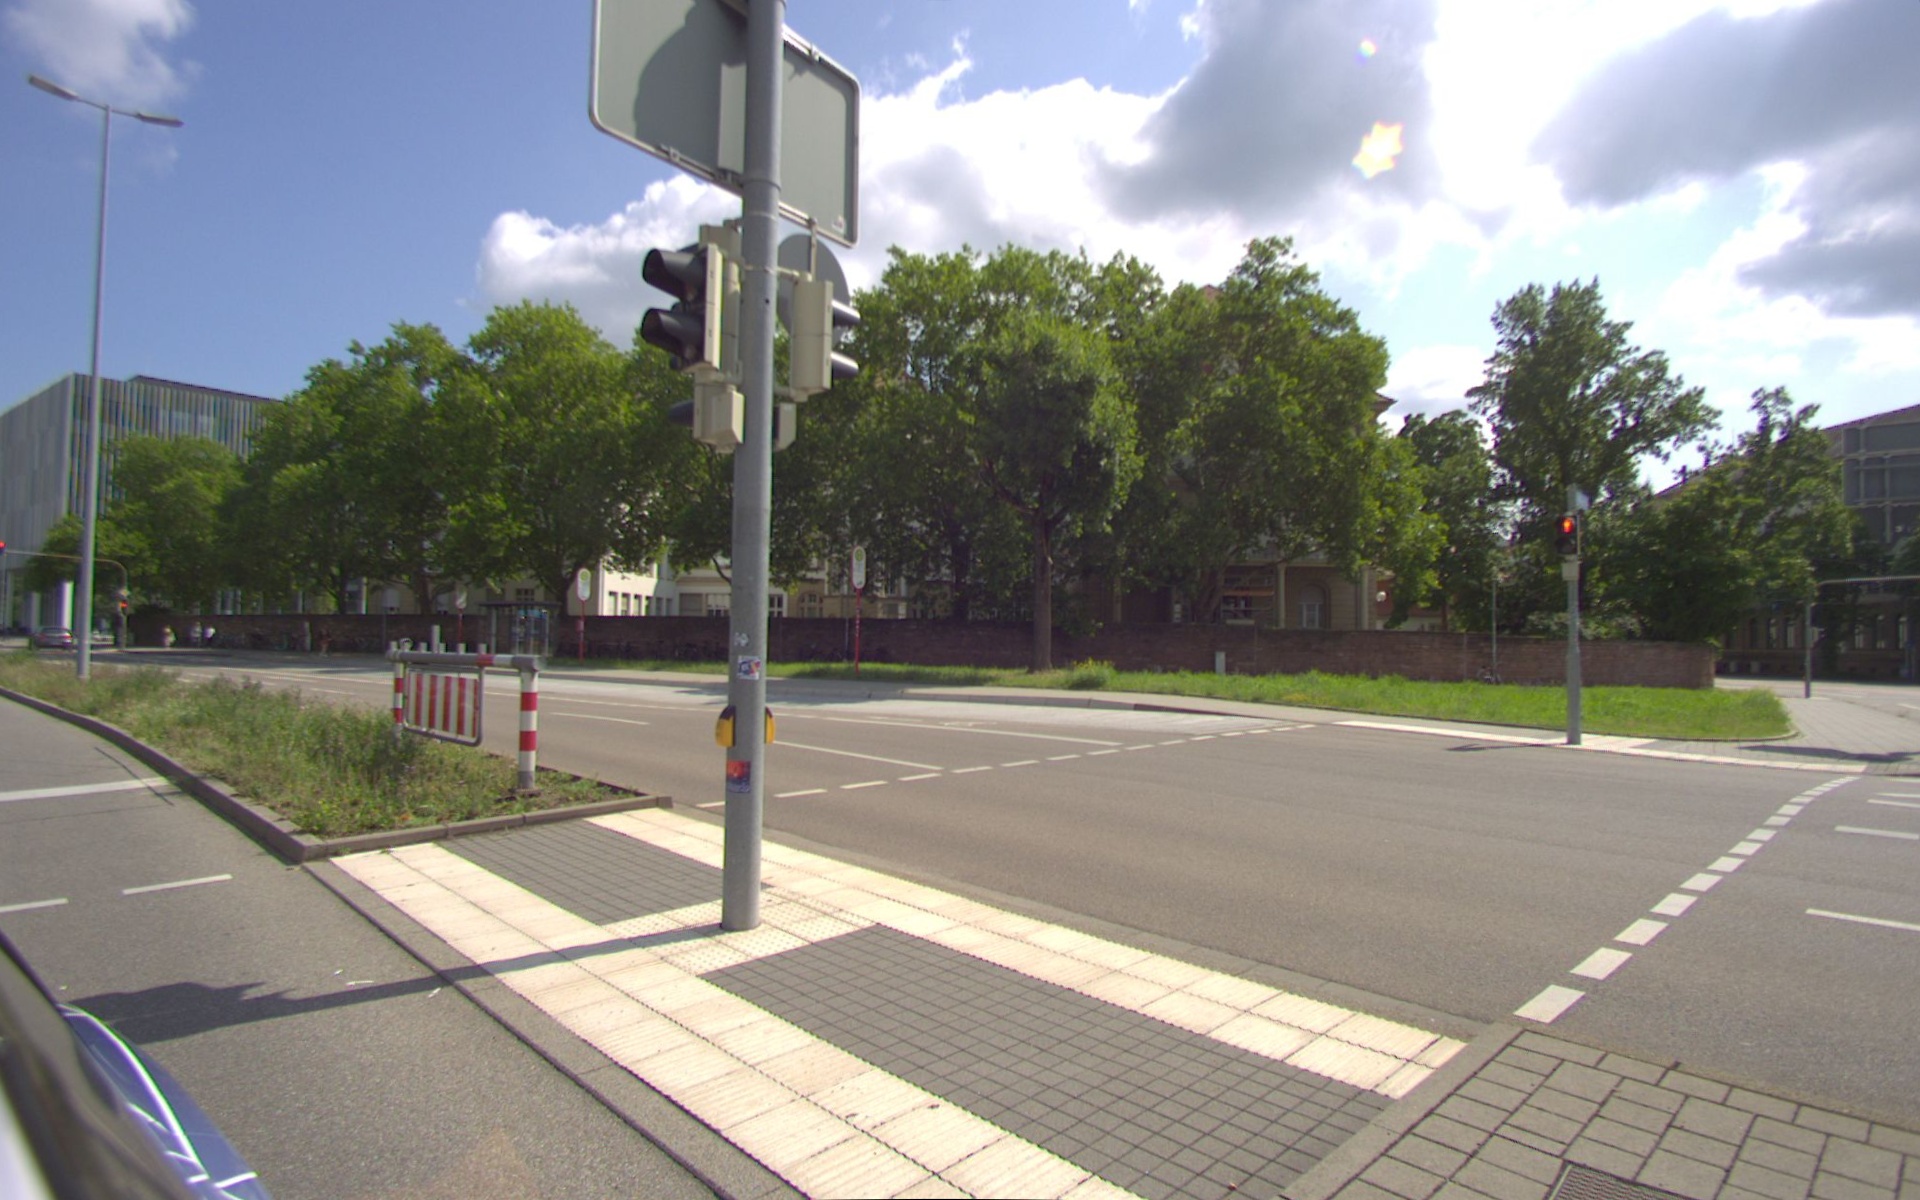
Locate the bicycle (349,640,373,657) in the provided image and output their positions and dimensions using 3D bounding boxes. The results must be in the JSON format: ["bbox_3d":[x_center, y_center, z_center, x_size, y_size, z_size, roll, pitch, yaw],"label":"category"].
[{"bbox_3d":[-34.513,2.773,58.298,1.618,0.962,0.368,-1,-3,25],"label":"bicycle"}]

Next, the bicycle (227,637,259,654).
[{"bbox_3d":[-45.629,2.881,64.422,1.864,1.056,0.590,0,-3,16],"label":"bicycle"}]

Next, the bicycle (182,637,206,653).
[{"bbox_3d":[-52.024,3.055,68.756,1.874,1.056,0.625,-1,-3,31],"label":"bicycle"}]

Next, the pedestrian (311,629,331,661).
[{"bbox_3d":[-32.600,2.270,51.611,0.744,1.622,0.649,-2,-2,41],"label":"pedestrian"}]

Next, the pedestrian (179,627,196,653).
[{"bbox_3d":[-49.834,2.598,65.286,0.729,1.664,0.635,-1,-3,35],"label":"pedestrian"}]

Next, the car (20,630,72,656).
[{"bbox_3d":[-53.891,2.540,59.632,4.142,1.456,1.683,-2,-5,40],"label":"car"}]

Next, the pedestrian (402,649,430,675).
[{"bbox_3d":[-21.042,2.393,39.132,0.742,0.970,0.687,-2,-3,39],"label":"pedestrian"}]

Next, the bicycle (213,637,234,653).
[{"bbox_3d":[-48.361,2.961,66.452,1.874,1.056,0.367,-1,-3,31],"label":"bicycle"}]

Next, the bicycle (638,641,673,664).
[{"bbox_3d":[-15.029,2.585,49.914,1.618,1.081,0.580,0,-3,19],"label":"bicycle"}]

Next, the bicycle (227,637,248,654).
[{"bbox_3d":[-46.674,2.950,65.411,1.874,1.056,0.367,-1,-3,31],"label":"bicycle"}]

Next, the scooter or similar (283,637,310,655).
[{"bbox_3d":[-40.348,2.806,61.515,1.874,1.056,0.576,-1,-3,31],"label":"scooter or similar"}]

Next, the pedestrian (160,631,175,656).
[{"bbox_3d":[-53.163,2.895,67.871,0.725,1.664,0.555,-1,-3,35],"label":"pedestrian"}]

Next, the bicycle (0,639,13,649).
[{"bbox_3d":[-83.981,3.815,88.403,1.745,0.899,0.640,1,-3,-18],"label":"bicycle"}]

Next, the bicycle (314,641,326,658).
[{"bbox_3d":[-37.286,2.886,58.953,0.362,0.962,1.627,3,-3,-40],"label":"bicycle"}]

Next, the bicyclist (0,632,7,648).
[{"bbox_3d":[-84.064,3.491,88.412,0.930,1.475,0.633,1,-3,-18],"label":"bicyclist"}]

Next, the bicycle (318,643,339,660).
[{"bbox_3d":[-37.286,3.031,59.748,1.394,0.962,0.364,-1,-3,25],"label":"bicycle"}]

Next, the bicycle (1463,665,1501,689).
[{"bbox_3d":[22.462,3.307,43.552,1.499,0.999,0.395,1,-3,-7],"label":"bicycle"}]

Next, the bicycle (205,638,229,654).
[{"bbox_3d":[-48.201,2.980,65.668,1.874,1.056,0.587,-1,-3,31],"label":"bicycle"}]

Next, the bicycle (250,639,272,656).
[{"bbox_3d":[-43.876,2.976,63.499,1.874,1.056,0.391,-1,-3,31],"label":"bicycle"}]

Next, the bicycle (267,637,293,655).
[{"bbox_3d":[-41.985,2.825,62.480,1.874,1.056,0.576,-1,-3,31],"label":"bicycle"}]

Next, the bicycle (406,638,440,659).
[{"bbox_3d":[-29.525,2.666,55.666,1.742,1.081,0.580,0,-3,19],"label":"bicycle"}]

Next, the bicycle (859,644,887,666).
[{"bbox_3d":[-4.011,2.547,46.813,1.245,1.019,0.351,-1,-3,20],"label":"bicycle"}]

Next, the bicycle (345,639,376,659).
[{"bbox_3d":[-34.043,2.787,57.469,1.746,1.081,0.579,-1,-3,25],"label":"bicycle"}]

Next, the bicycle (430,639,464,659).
[{"bbox_3d":[-27.797,2.642,54.884,1.742,1.081,0.580,0,-3,19],"label":"bicycle"}]

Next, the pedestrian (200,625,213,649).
[{"bbox_3d":[-49.294,2.432,66.238,0.615,1.552,0.472,-1,-3,35],"label":"pedestrian"}]

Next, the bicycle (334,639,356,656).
[{"bbox_3d":[-35.954,2.755,59.122,1.394,0.962,0.364,-1,-3,25],"label":"bicycle"}]

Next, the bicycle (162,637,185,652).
[{"bbox_3d":[-54.772,3.101,70.442,1.874,1.056,0.625,-1,-3,31],"label":"bicycle"}]

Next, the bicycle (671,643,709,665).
[{"bbox_3d":[-13.163,2.631,49.343,1.858,1.081,0.579,-1,-3,24],"label":"bicycle"}]

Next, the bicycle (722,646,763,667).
[{"bbox_3d":[-10.431,2.705,48.518,1.949,1.019,0.469,-1,-3,20],"label":"bicycle"}]

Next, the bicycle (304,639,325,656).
[{"bbox_3d":[-38.767,2.852,60.761,1.394,0.962,0.364,-1,-3,25],"label":"bicycle"}]

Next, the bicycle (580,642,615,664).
[{"bbox_3d":[-18.280,2.668,51.026,1.618,1.081,0.580,0,-3,19],"label":"bicycle"}]

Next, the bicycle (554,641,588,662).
[{"bbox_3d":[-19.883,2.629,51.676,1.618,1.081,0.580,0,-3,19],"label":"bicycle"}]

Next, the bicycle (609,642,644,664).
[{"bbox_3d":[-16.632,2.642,50.453,1.618,1.081,0.580,0,-3,19],"label":"bicycle"}]

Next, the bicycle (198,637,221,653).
[{"bbox_3d":[-50.271,2.984,67.802,1.874,1.056,0.560,-1,-3,31],"label":"bicycle"}]

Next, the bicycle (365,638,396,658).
[{"bbox_3d":[-32.787,2.706,57.249,1.746,1.081,0.579,-1,-3,25],"label":"bicycle"}]

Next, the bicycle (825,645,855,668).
[{"bbox_3d":[-5.615,2.623,47.183,1.360,1.019,0.389,-1,-3,20],"label":"bicycle"}]

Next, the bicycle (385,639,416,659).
[{"bbox_3d":[-31.258,2.741,56.535,1.745,1.081,0.579,-1,-3,24],"label":"bicycle"}]

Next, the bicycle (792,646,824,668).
[{"bbox_3d":[-7.130,2.660,47.563,1.445,1.019,0.469,-1,-3,20],"label":"bicycle"}]

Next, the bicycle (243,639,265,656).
[{"bbox_3d":[-44.089,2.967,63.171,1.874,1.056,0.370,-1,-3,31],"label":"bicycle"}]

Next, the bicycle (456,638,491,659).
[{"bbox_3d":[-25.990,2.587,54.072,1.742,1.081,0.580,0,-3,19],"label":"bicycle"}]
